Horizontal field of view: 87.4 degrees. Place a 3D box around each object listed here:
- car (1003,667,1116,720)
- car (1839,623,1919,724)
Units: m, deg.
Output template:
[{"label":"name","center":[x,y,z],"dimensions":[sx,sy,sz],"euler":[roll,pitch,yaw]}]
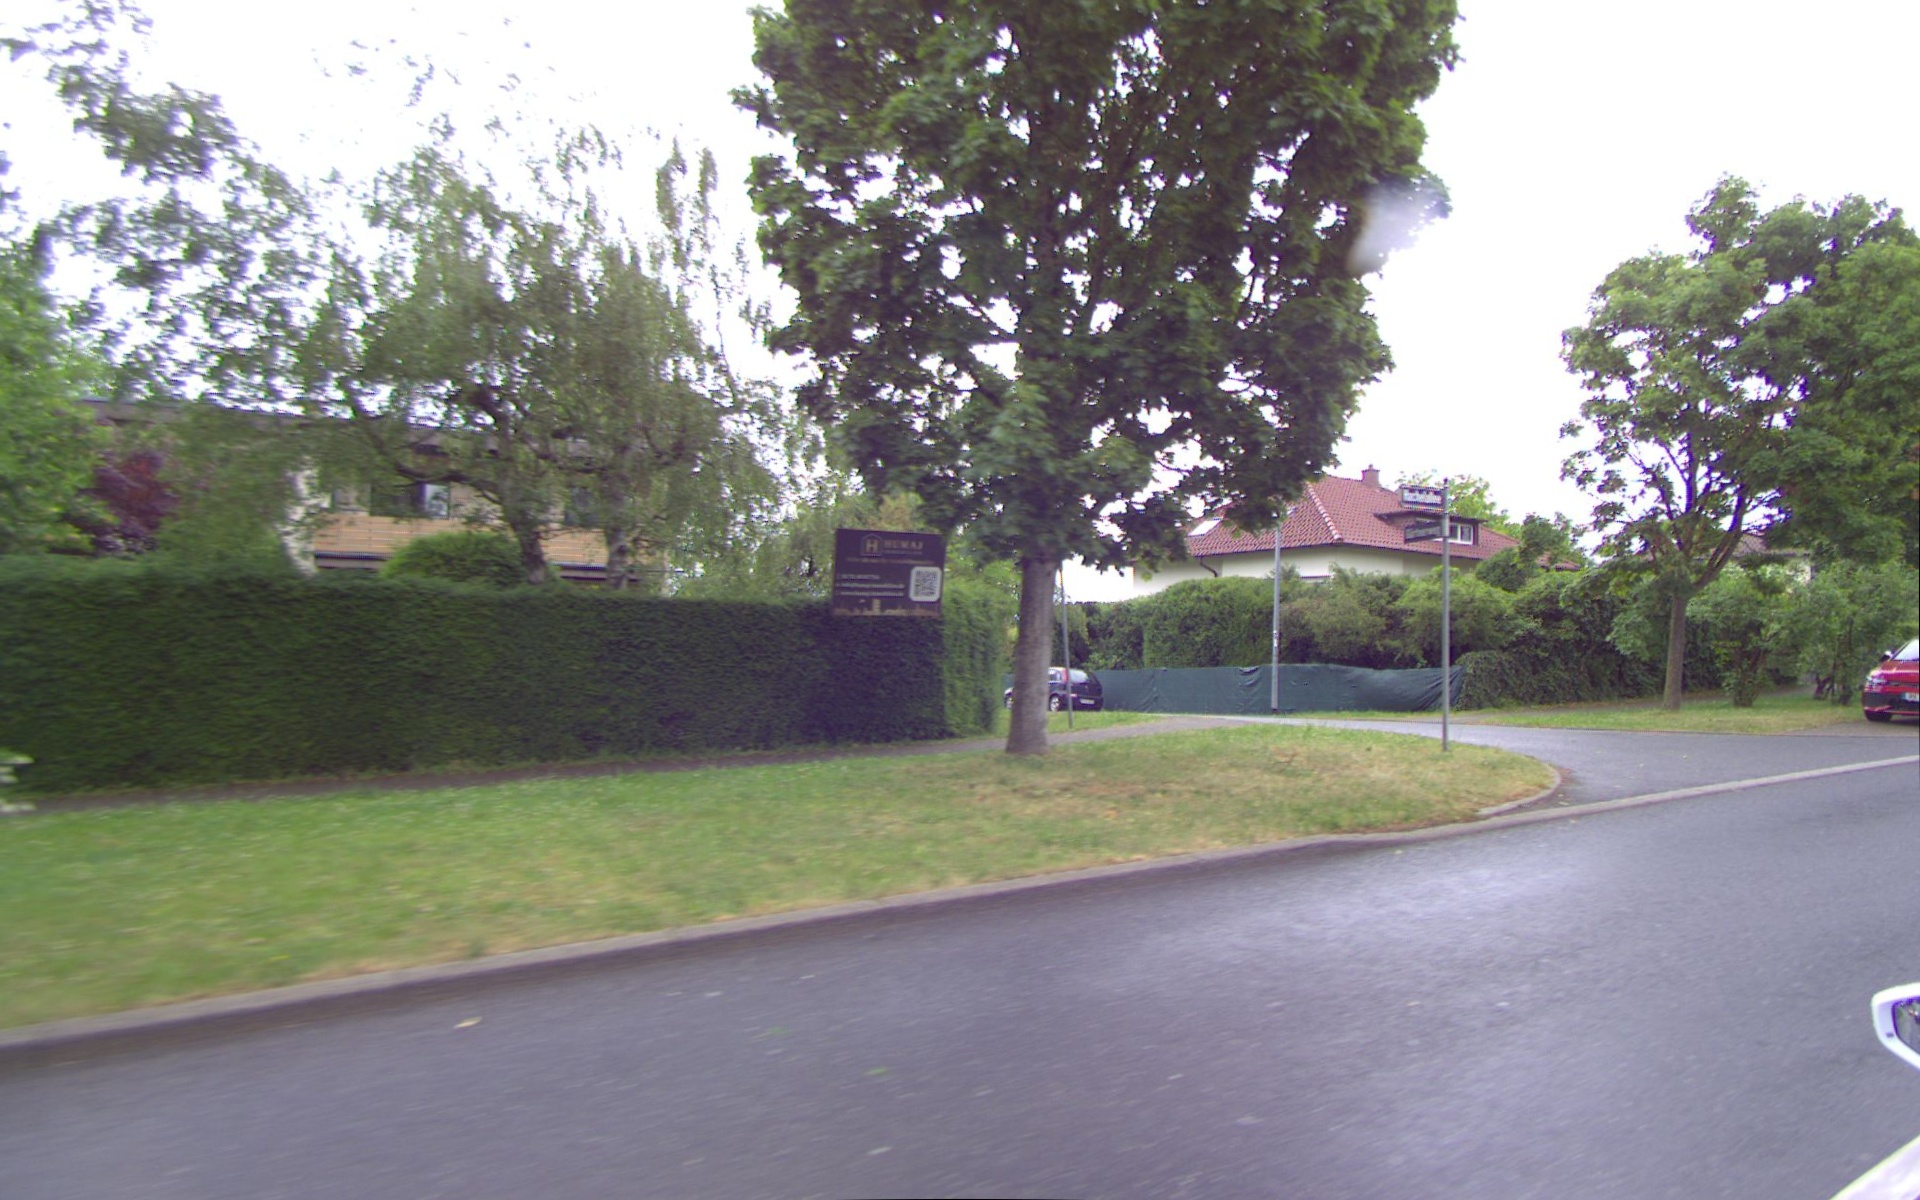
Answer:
[{"label":"car","center":[2.989,2.866,30.866],"dimensions":[1.791,1.382,3.529],"euler":[-4,-3,-26]},{"label":"car","center":[16.087,1.143,16.134],"dimensions":[4.202,1.485,1.833],"euler":[1,-1,-32]}]
